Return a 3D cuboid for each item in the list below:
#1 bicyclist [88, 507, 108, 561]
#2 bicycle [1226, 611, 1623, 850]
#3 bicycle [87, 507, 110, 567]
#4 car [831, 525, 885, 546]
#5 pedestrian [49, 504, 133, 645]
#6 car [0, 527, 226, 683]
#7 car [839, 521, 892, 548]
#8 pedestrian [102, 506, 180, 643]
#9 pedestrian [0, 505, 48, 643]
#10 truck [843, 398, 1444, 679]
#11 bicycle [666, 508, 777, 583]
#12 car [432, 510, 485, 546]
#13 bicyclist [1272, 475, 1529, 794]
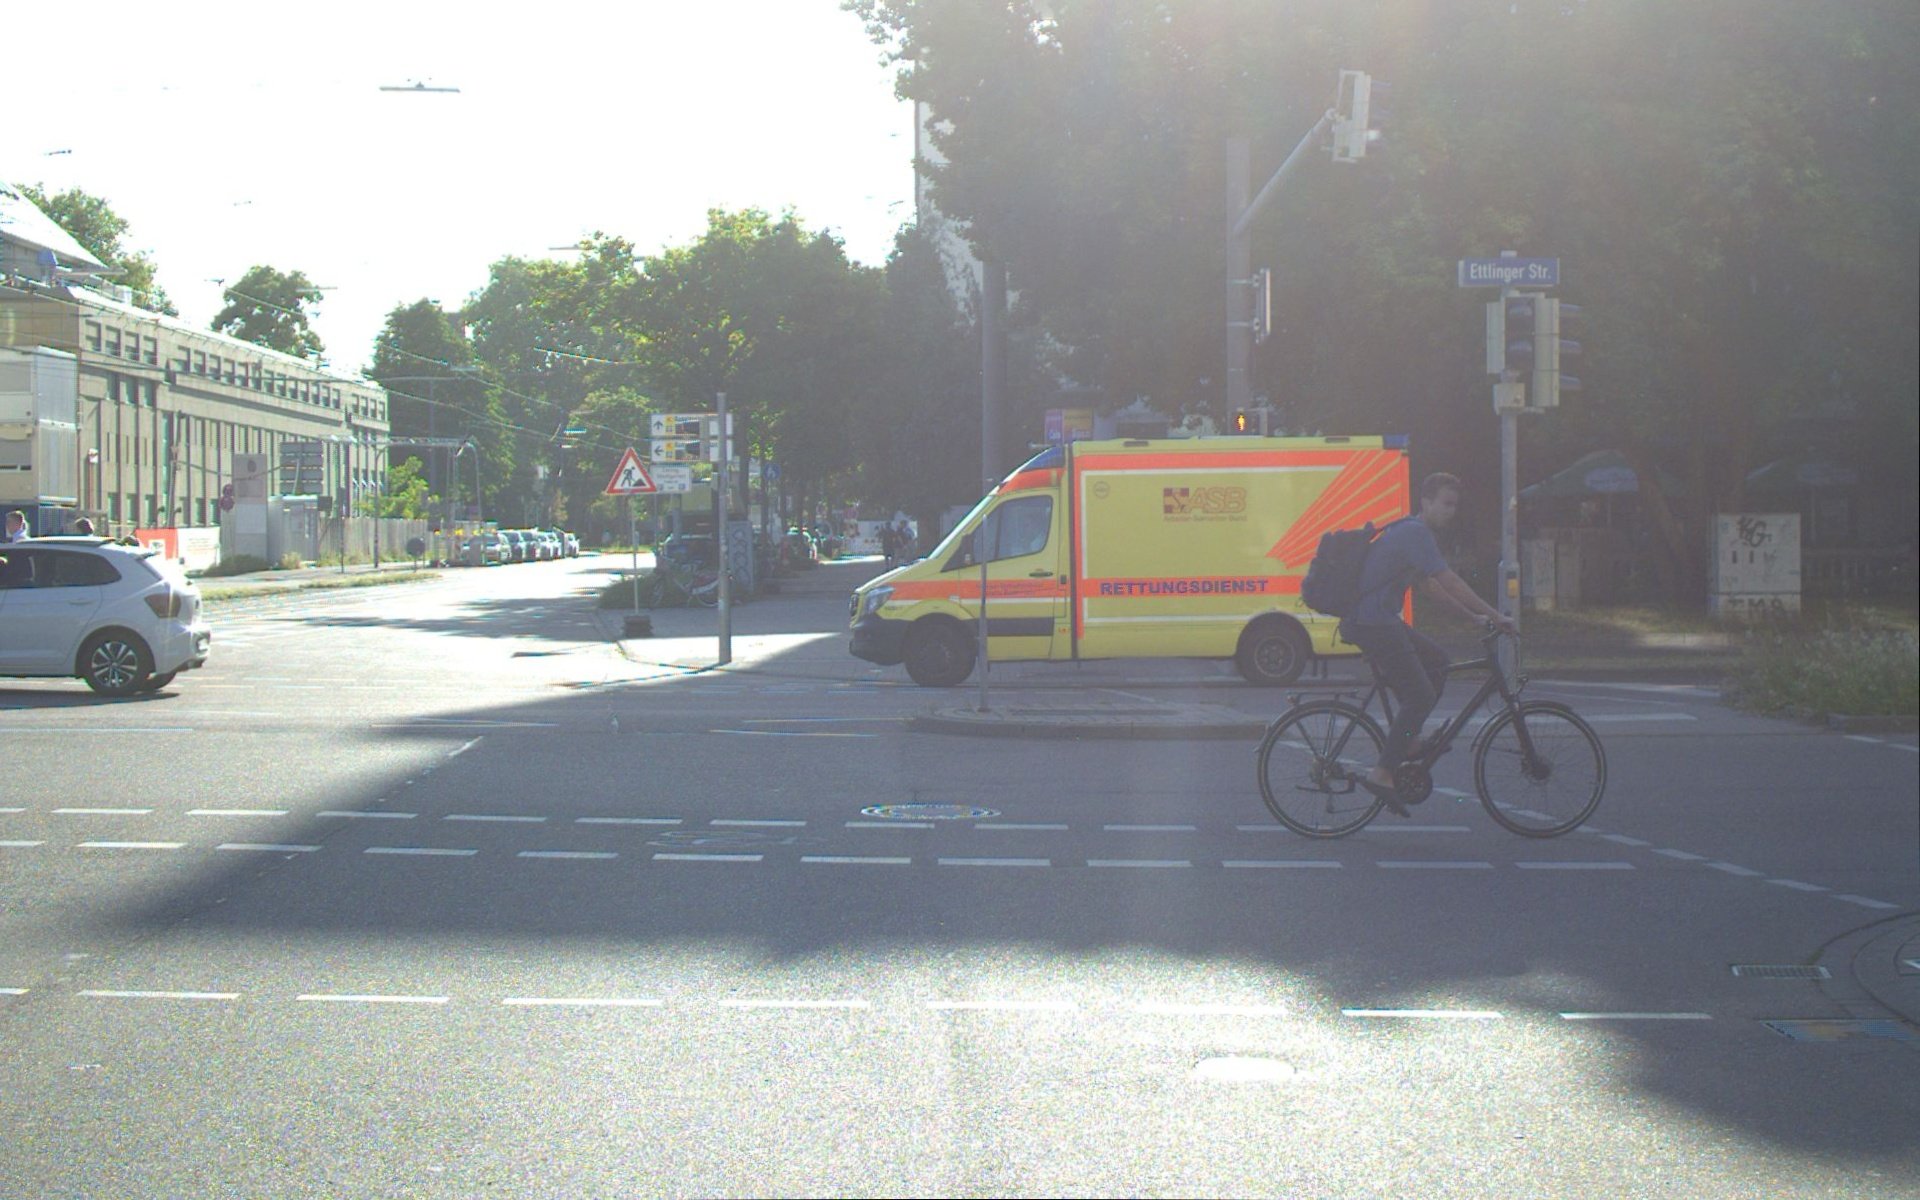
[{"bbox_3d":[-32.634,-2.489,130.161,0.571,2.017,0.762,0,1,-2],"label":"bicyclist"},{"bbox_3d":[2.374,0.654,17.699,1.872,1.154,0.767,0,3,-9],"label":"bicycle"},{"bbox_3d":[-32.637,-2.387,130.255,0.571,2.288,1.422,0,1,-2],"label":"bicycle"},{"bbox_3d":[-6.254,-3.945,211.153,3.217,1.259,1.373,1,0,0],"label":"car"},{"bbox_3d":[-11.256,-0.333,44.536,0.870,1.797,0.664,0,1,5],"label":"pedestrian"},{"bbox_3d":[-9.127,0.057,32.529,4.042,1.429,1.632,0,0,-2],"label":"car"},{"bbox_3d":[-5.881,-4.076,213.443,3.214,1.583,1.446,1,0,-4],"label":"car"},{"bbox_3d":[-10.814,-0.340,45.407,0.870,1.797,0.532,0,1,5],"label":"pedestrian"},{"bbox_3d":[-12.430,-0.344,44.999,0.739,1.797,0.716,0,1,5],"label":"pedestrian"},{"bbox_3d":[2.031,-0.679,38.419,6.468,3.005,2.725,0,1,3],"label":"truck"},{"bbox_3d":[-5.640,-1.282,81.379,2.547,1.737,1.037,1,0,0],"label":"bicycle"},{"bbox_3d":[-22.828,-3.273,156.520,1.894,1.601,4.501,-1,1,-2],"label":"car"},{"bbox_3d":[2.253,0.158,17.663,1.123,1.589,0.767,0,3,-9],"label":"bicyclist"}]
